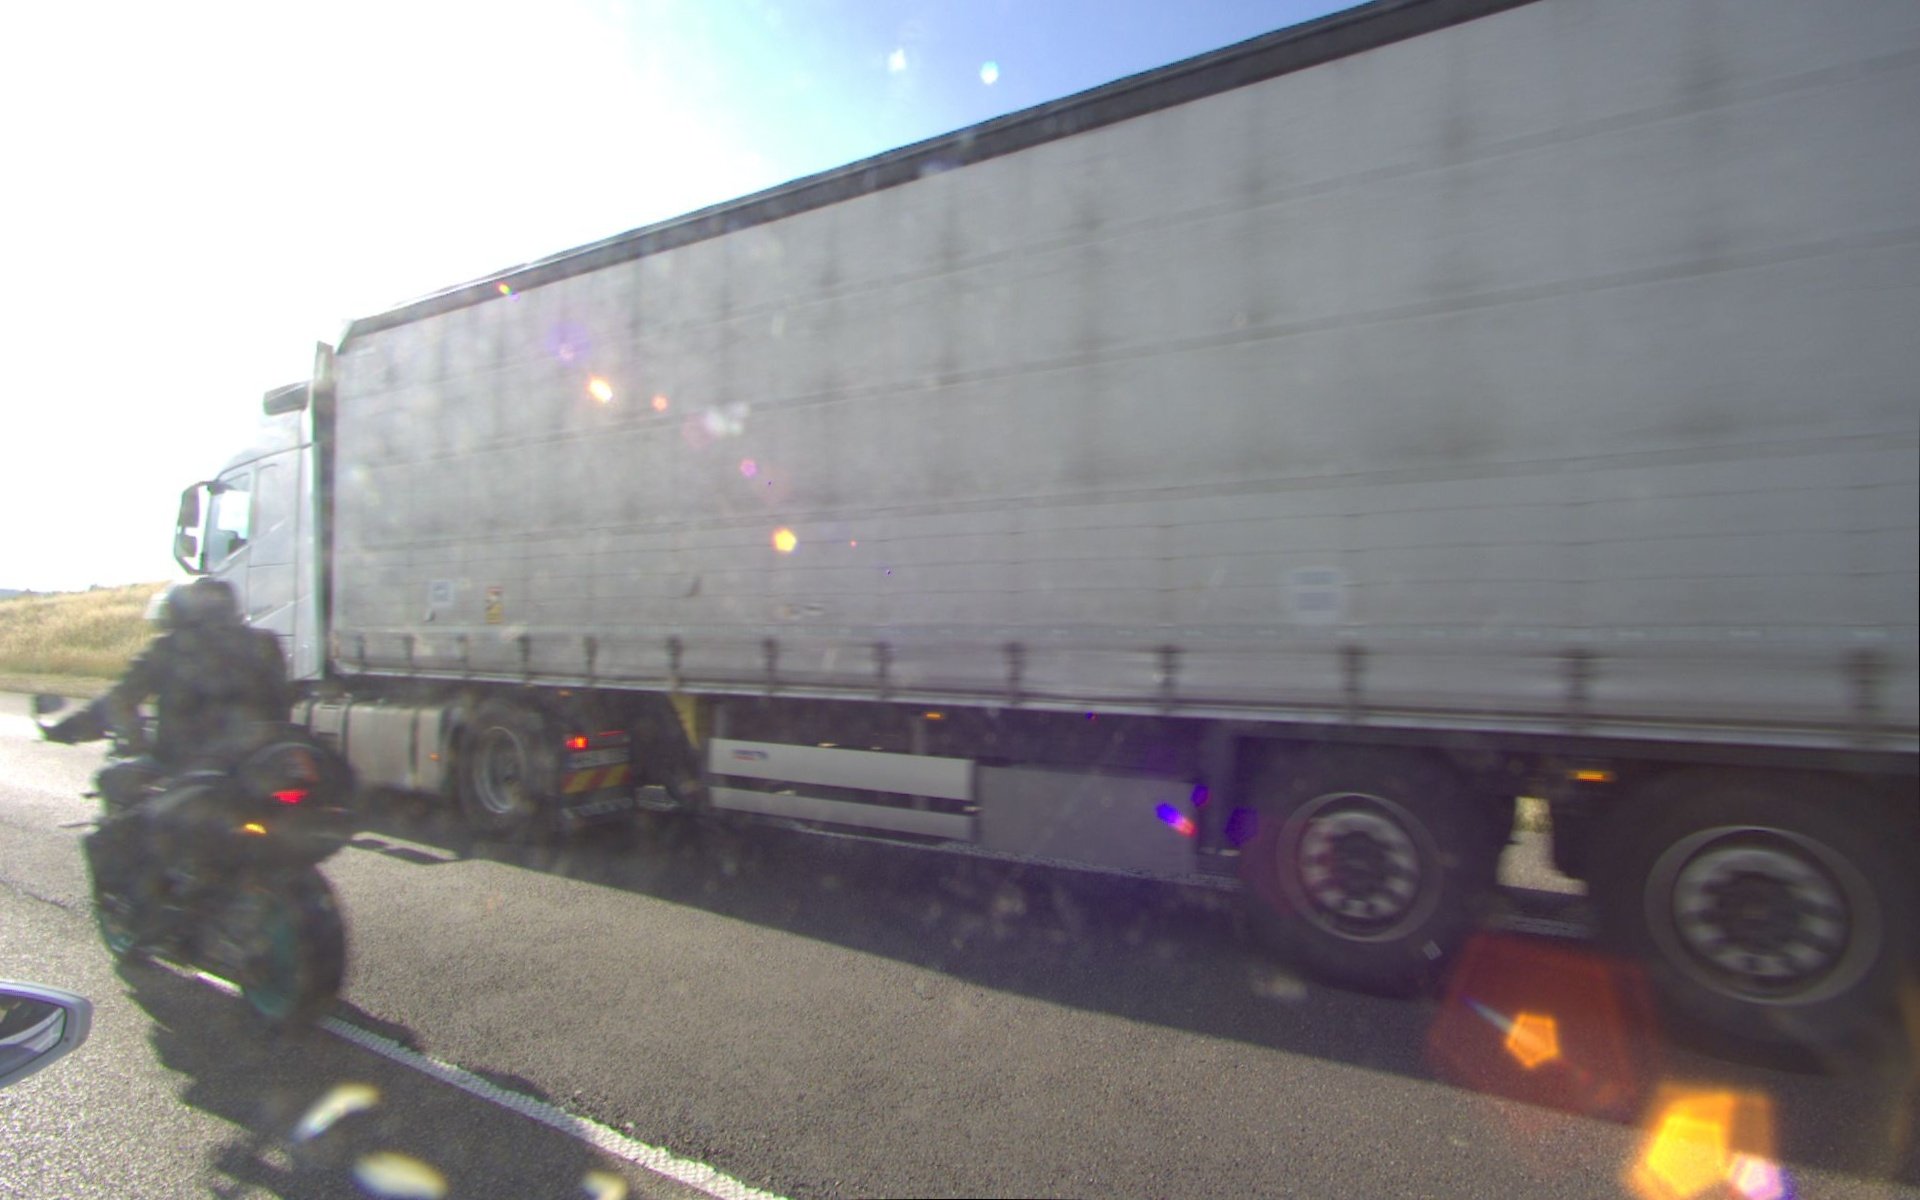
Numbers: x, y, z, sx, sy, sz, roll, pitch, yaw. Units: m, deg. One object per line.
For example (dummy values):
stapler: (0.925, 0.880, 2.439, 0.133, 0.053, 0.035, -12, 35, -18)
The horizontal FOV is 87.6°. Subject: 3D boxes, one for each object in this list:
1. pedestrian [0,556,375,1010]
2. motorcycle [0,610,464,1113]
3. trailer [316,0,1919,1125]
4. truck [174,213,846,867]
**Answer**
pedestrian: (-2.993, 0.613, 3.897, 0.969, 1.474, 0.894, -1, -1, 32)
motorcycle: (-3.017, 0.798, 3.917, 2.237, 1.474, 0.894, -1, -1, 32)
trailer: (1.255, -0.395, 5.586, 13.500, 4.093, 2.612, -1, -1, 32)
truck: (-4.203, -0.311, 8.981, 6.031, 4.093, 2.596, -1, -1, 32)
